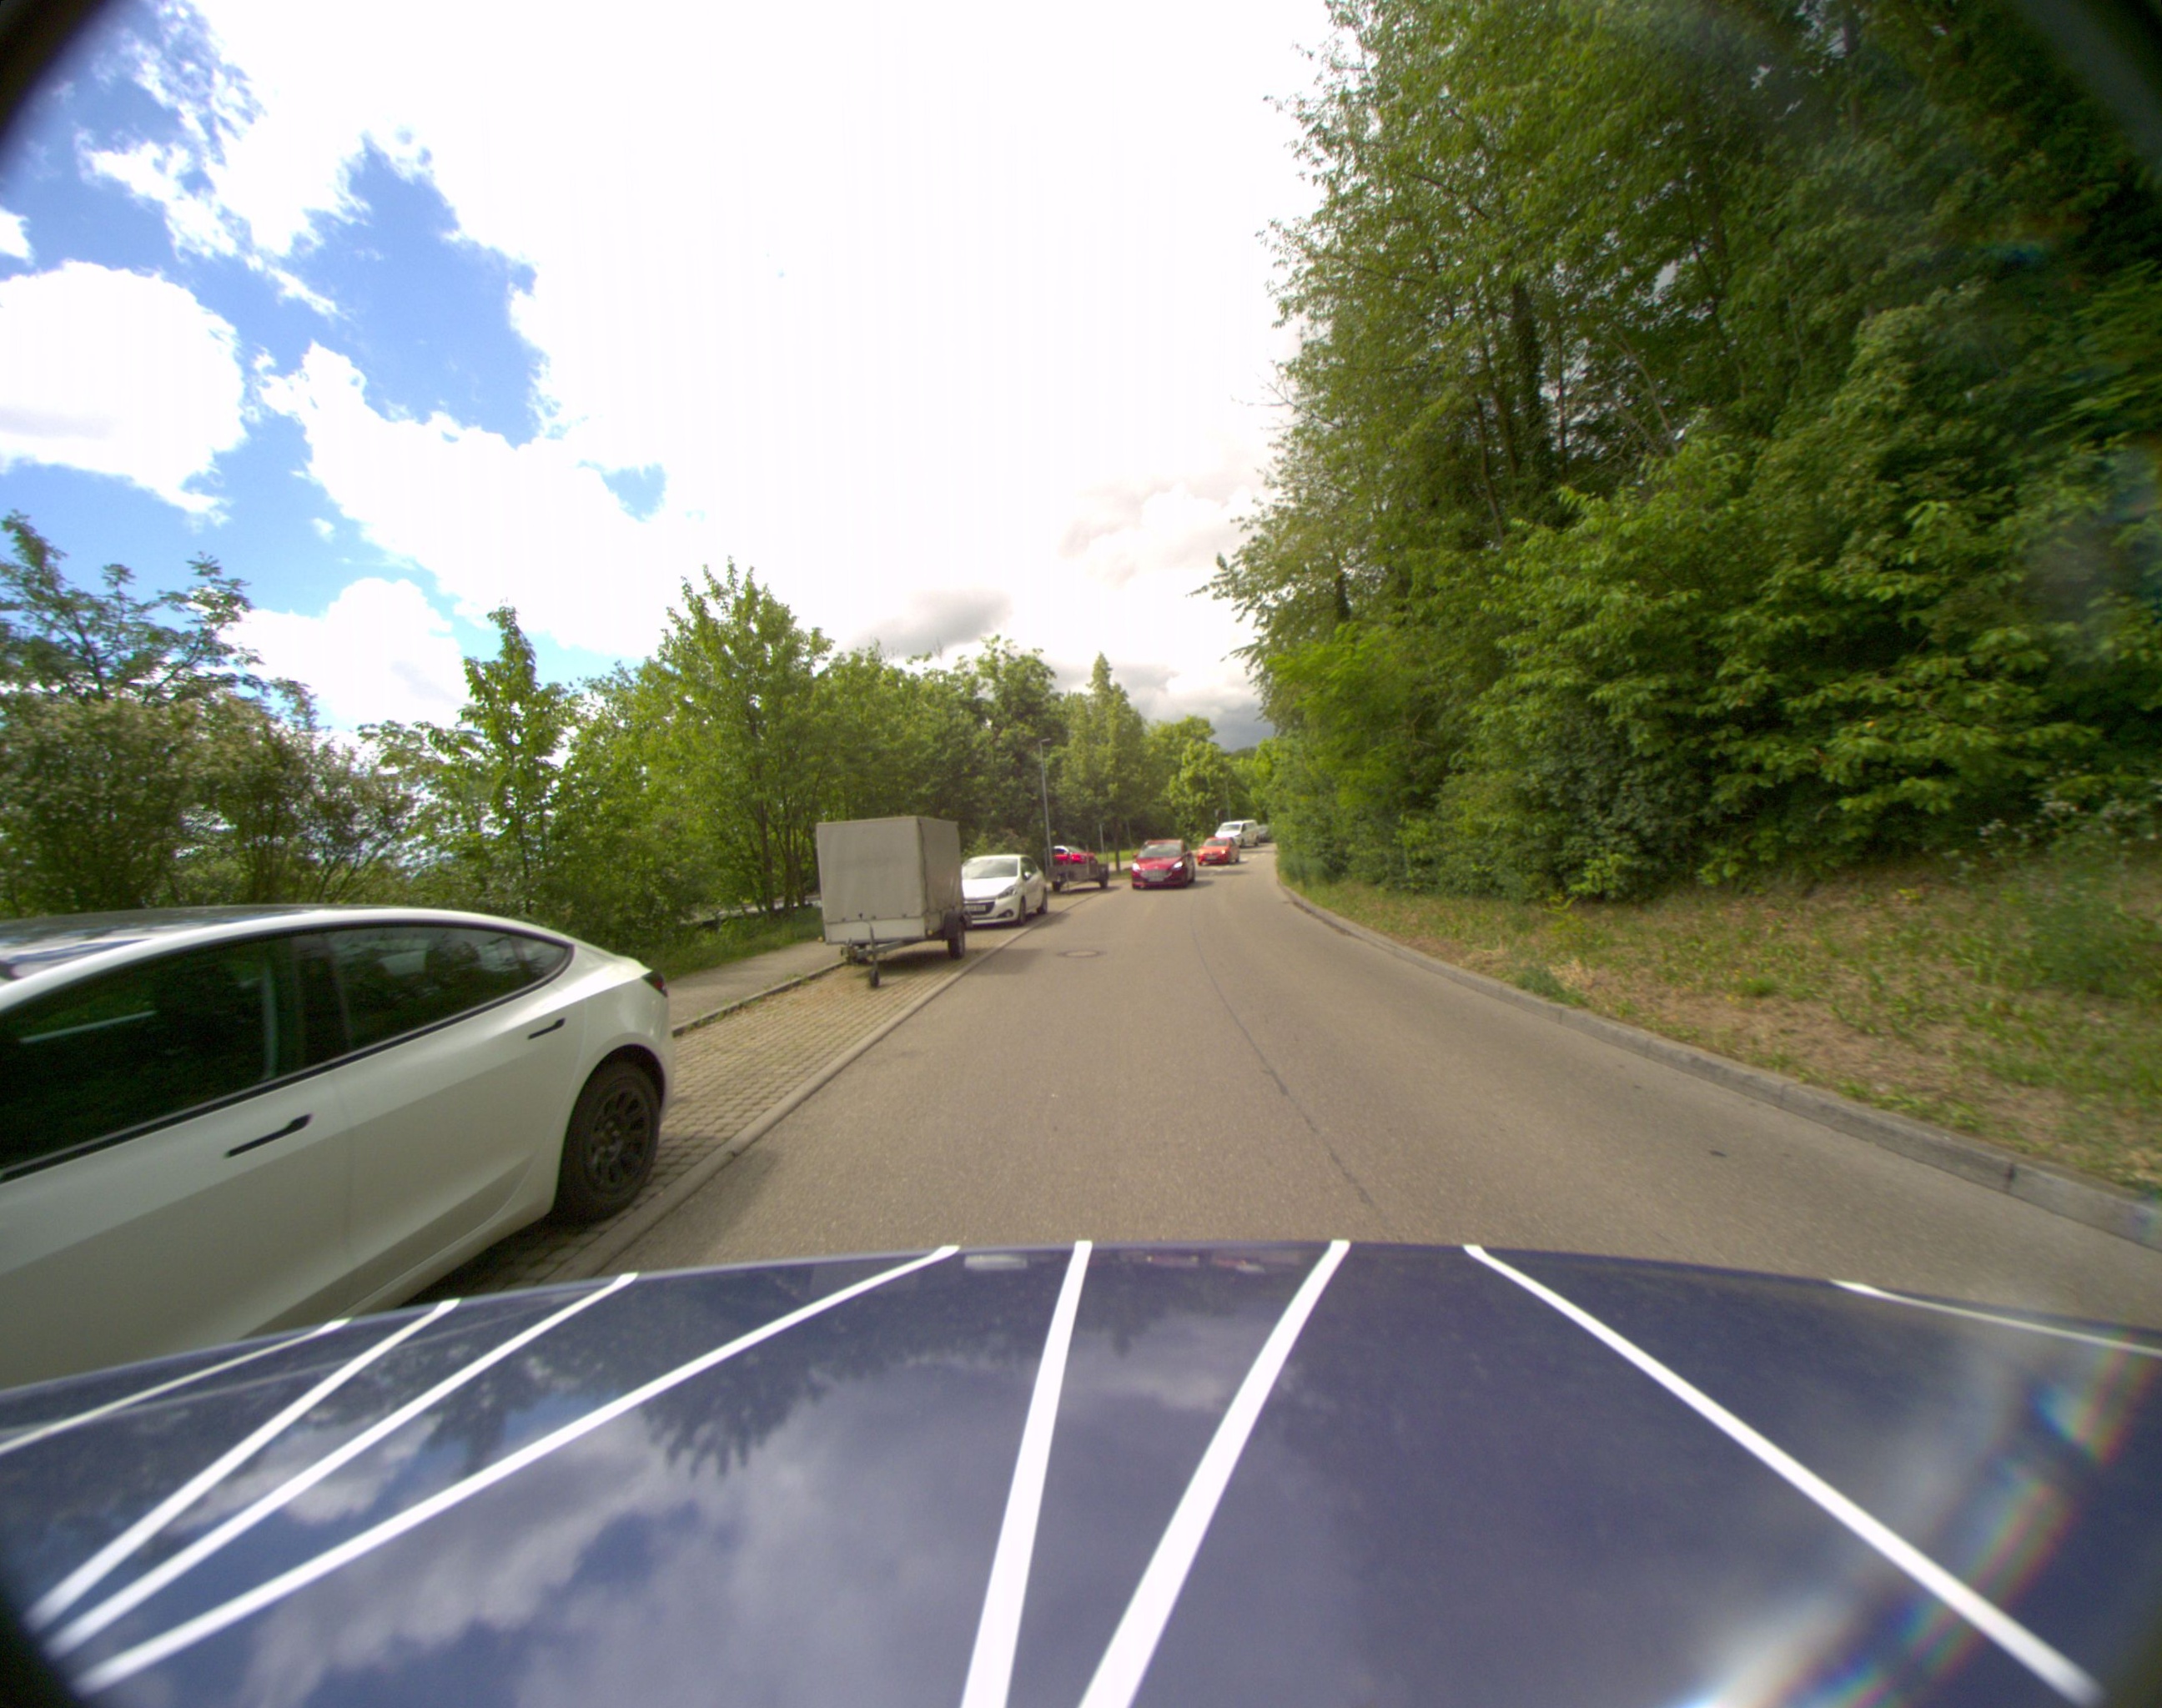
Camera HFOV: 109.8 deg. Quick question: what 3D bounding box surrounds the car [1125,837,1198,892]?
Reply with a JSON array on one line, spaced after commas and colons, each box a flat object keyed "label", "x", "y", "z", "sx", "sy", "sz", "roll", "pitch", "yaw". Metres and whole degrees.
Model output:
[{"label": "car", "x": 2.942, "y": 0.302, "z": 26.952, "sx": 1.910, "sy": 1.689, "sz": 4.390, "roll": -1, "pitch": 2, "yaw": 14}]

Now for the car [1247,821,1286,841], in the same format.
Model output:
[{"label": "car", "x": 15.279, "y": -1.904, "z": 62.439, "sx": 1.792, "sy": 1.405, "sz": 4.111, "roll": -2, "pitch": 2, "yaw": 32}]

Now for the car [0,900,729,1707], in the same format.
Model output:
[{"label": "car", "x": -2.983, "y": 1.038, "z": 1.867, "sx": 1.867, "sy": 1.468, "sz": 4.902, "roll": -3, "pitch": 0, "yaw": 0}]

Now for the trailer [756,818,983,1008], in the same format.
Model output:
[{"label": "trailer", "x": -2.614, "y": 0.630, "z": 10.398, "sx": 1.734, "sy": 2.066, "sz": 3.783, "roll": -3, "pitch": 1, "yaw": 4}]

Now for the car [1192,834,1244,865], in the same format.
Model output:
[{"label": "car", "x": 7.410, "y": -0.271, "z": 40.828, "sx": 1.793, "sy": 1.405, "sz": 4.117, "roll": -1, "pitch": 3, "yaw": 23}]

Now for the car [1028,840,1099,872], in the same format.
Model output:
[{"label": "car", "x": -0.994, "y": 0.110, "z": 42.262, "sx": 3.479, "sy": 1.509, "sz": 1.654, "roll": -3, "pitch": 3, "yaw": 32}]

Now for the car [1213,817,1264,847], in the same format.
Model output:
[{"label": "car", "x": 11.908, "y": -1.690, "z": 57.098, "sx": 1.866, "sy": 2.047, "sz": 5.435, "roll": -1, "pitch": 2, "yaw": 32}]

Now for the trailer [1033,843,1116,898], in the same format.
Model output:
[{"label": "trailer", "x": -0.108, "y": 0.492, "z": 25.904, "sx": 1.813, "sy": 1.570, "sz": 4.492, "roll": -3, "pitch": 1, "yaw": 12}]

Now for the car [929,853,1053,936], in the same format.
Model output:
[{"label": "car", "x": -1.829, "y": 0.801, "z": 16.659, "sx": 1.709, "sy": 1.469, "sz": 3.785, "roll": -2, "pitch": 1, "yaw": 8}]
